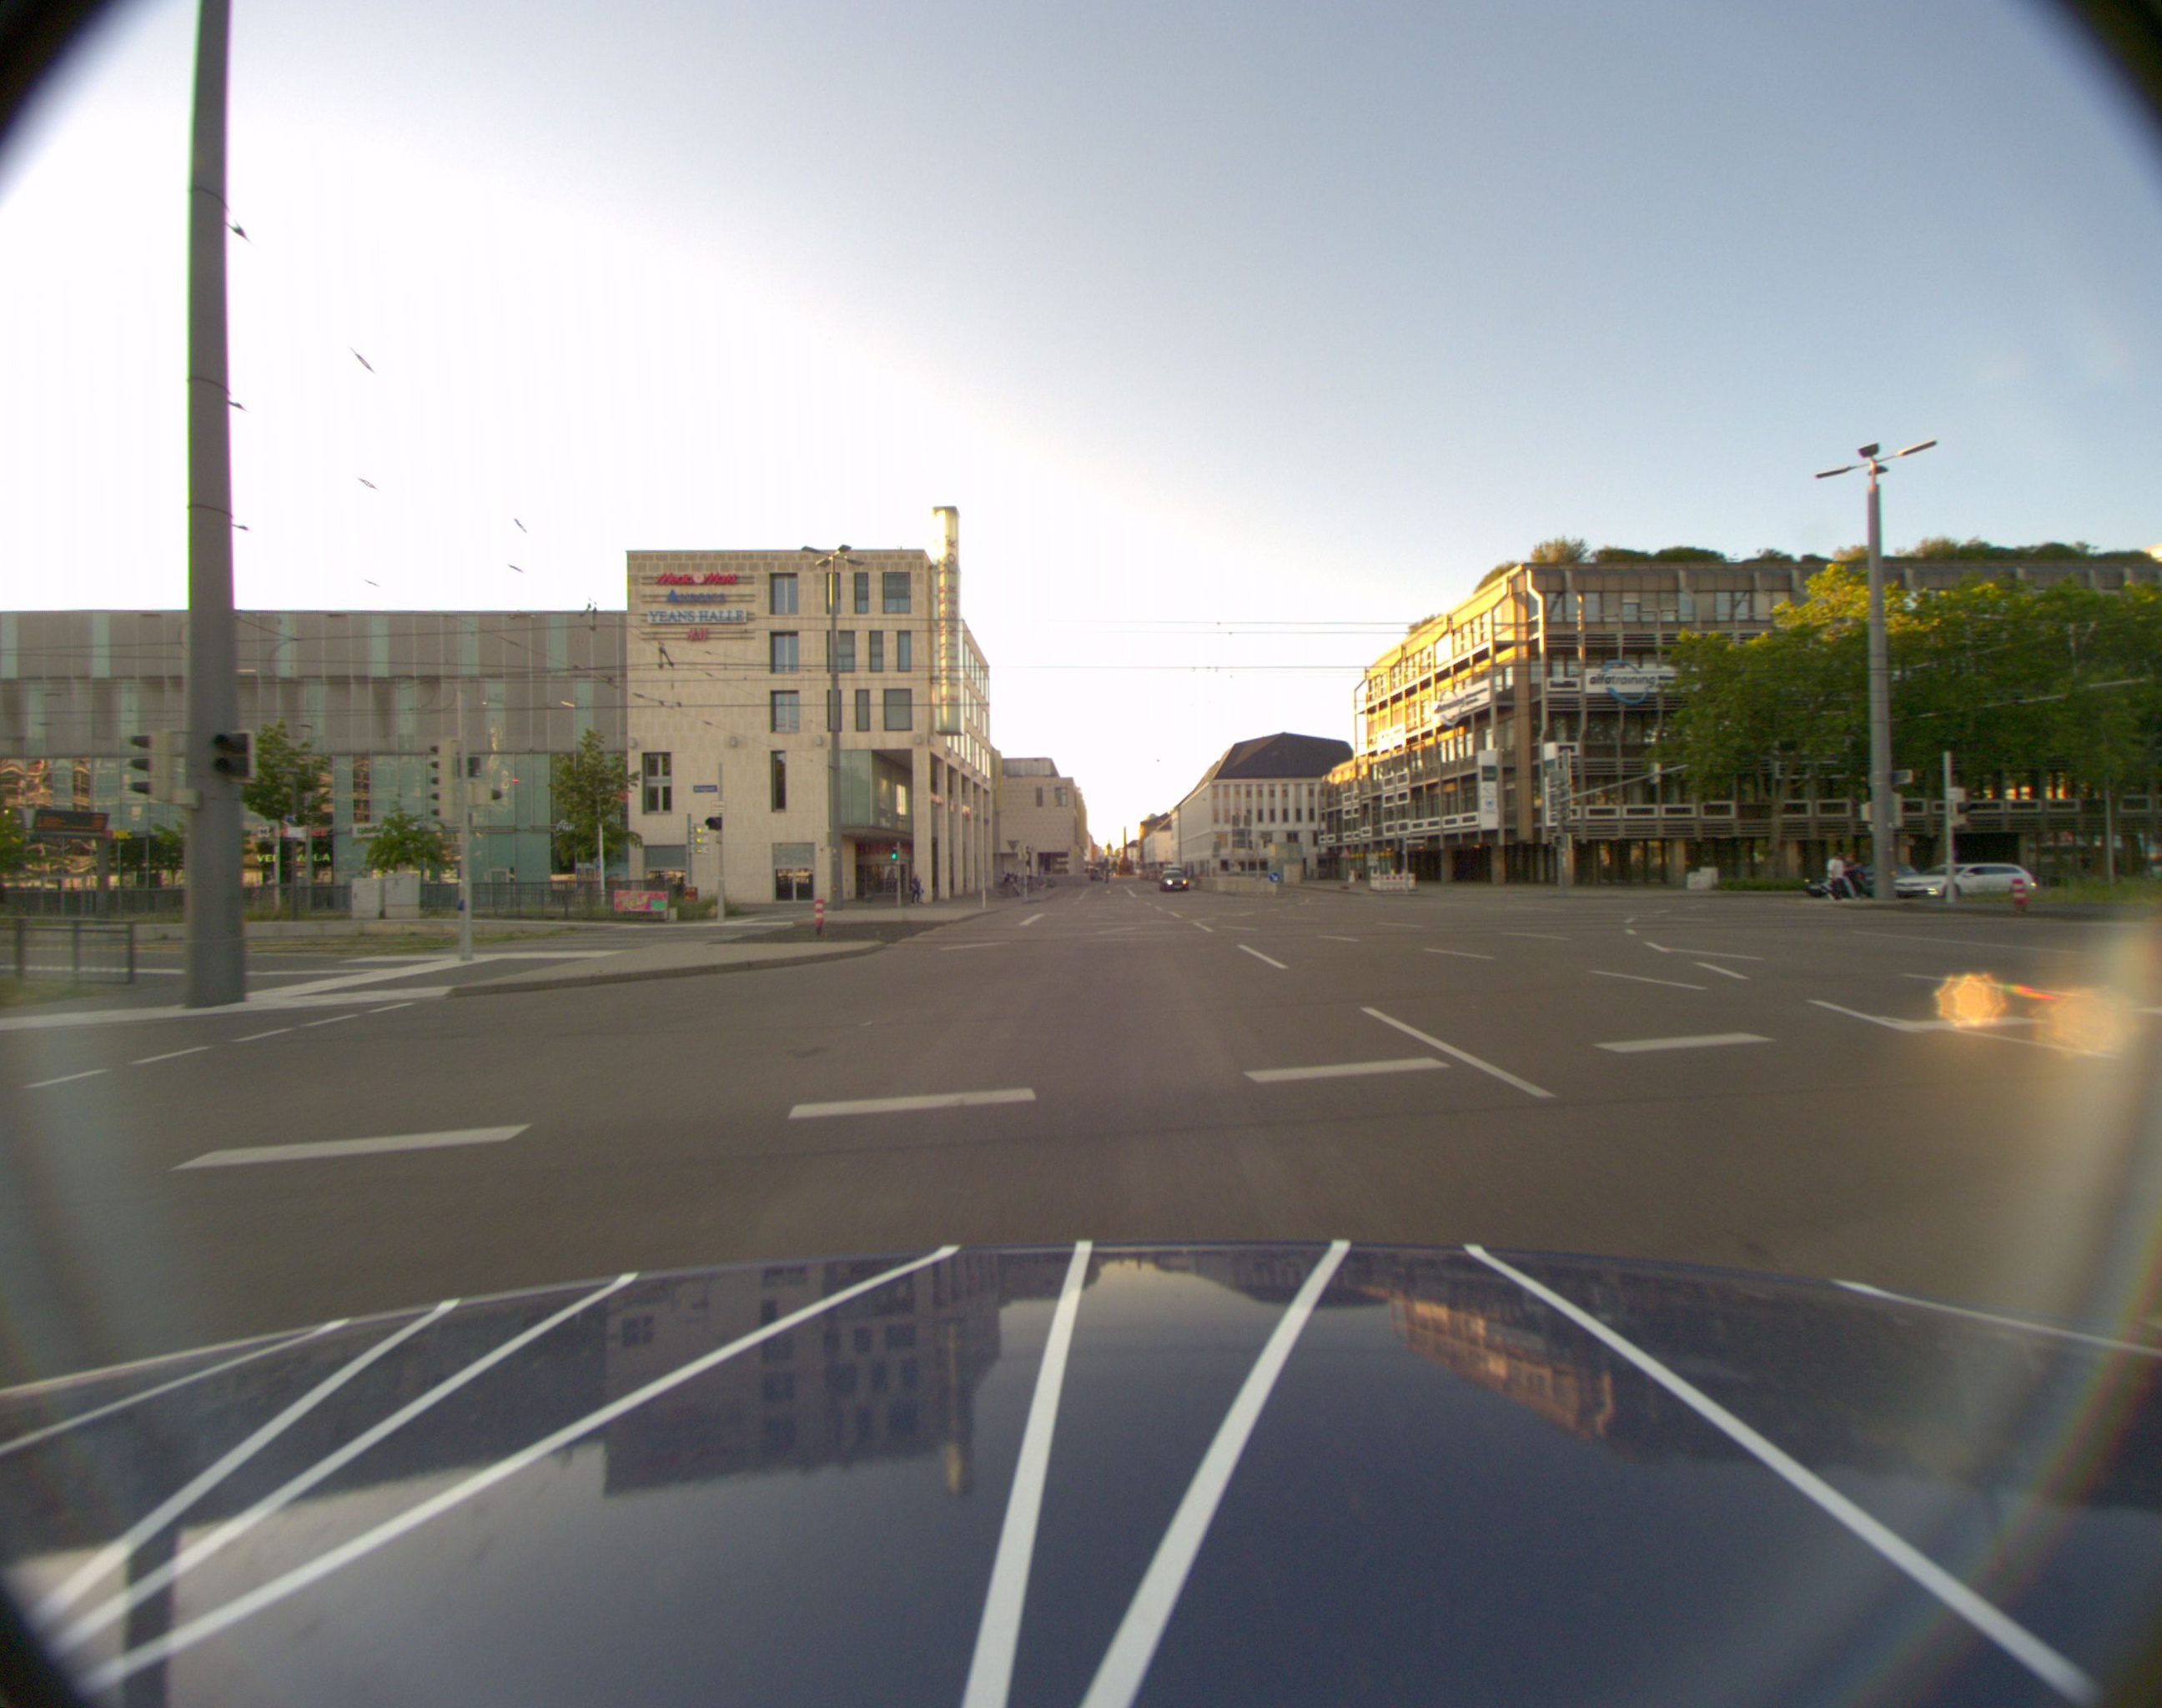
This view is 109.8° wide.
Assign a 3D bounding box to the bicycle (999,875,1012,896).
[{"bbox_3d":[-5.125,2.123,51.938,0.618,1.316,2.509,-1,0,0],"label":"bicycle"}]

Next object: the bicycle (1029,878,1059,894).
[{"bbox_3d":[-3.101,2.684,63.849,2.507,1.316,0.619,-1,0,1],"label":"bicycle"}]

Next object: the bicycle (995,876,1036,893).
[{"bbox_3d":[-4.671,2.164,54.106,2.804,1.209,0.765,-1,0,11],"label":"bicycle"}]

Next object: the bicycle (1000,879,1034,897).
[{"bbox_3d":[-4.767,2.528,56.741,2.507,1.316,0.619,-1,0,1],"label":"bicycle"}]

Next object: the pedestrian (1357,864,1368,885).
[{"bbox_3d":[24.069,1.746,64.956,0.651,1.702,0.650,-1,-1,4],"label":"pedestrian"}]

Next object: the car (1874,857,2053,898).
[{"bbox_3d":[37.206,0.974,32.144,5.159,1.575,2.000,-1,-1,1],"label":"car"}]

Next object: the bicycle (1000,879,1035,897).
[{"bbox_3d":[-4.783,2.542,57.435,2.507,1.316,0.619,-1,0,1],"label":"bicycle"}]

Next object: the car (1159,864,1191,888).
[{"bbox_3d":[6.816,1.590,55.471,2.071,1.641,4.001,-1,-1,3],"label":"car"}]

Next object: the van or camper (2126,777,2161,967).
[{"bbox_3d":[16.267,0.168,7.884,2.232,2.650,6.163,-1,-1,-1],"label":"van or camper"}]

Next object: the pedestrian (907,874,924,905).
[{"bbox_3d":[-9.334,2.009,42.942,0.764,1.696,0.834,-1,-1,0],"label":"pedestrian"}]

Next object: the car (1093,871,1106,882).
[{"bbox_3d":[2.995,3.636,122.977,2.071,1.641,4.001,-1,-1,3],"label":"car"}]

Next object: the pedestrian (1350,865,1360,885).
[{"bbox_3d":[23.396,1.757,64.887,0.645,1.702,0.682,-1,-1,4],"label":"pedestrian"}]

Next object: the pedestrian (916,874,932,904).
[{"bbox_3d":[-9.128,2.029,44.129,0.764,1.696,0.834,-1,-1,-3],"label":"pedestrian"}]

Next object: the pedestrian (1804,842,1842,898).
[{"bbox_3d":[26.026,0.571,26.665,0.644,1.920,0.681,-1,0,-1],"label":"pedestrian"}]

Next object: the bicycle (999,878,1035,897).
[{"bbox_3d":[-4.700,2.444,55.744,2.507,1.316,0.619,-1,0,1],"label":"bicycle"}]

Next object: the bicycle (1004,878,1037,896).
[{"bbox_3d":[-4.712,2.569,59.185,2.507,1.316,0.619,-1,0,1],"label":"bicycle"}]

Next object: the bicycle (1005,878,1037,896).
[{"bbox_3d":[-4.731,2.585,59.993,2.507,1.316,0.619,-1,0,1],"label":"bicycle"}]

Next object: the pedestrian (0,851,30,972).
[{"bbox_3d":[-17.162,0.887,11.622,0.892,1.843,1.007,2,1,14],"label":"pedestrian"}]

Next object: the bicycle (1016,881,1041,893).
[{"bbox_3d":[-4.797,2.960,68.968,2.211,1.034,0.509,-1,-1,-1],"label":"bicycle"}]

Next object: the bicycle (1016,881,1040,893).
[{"bbox_3d":[-4.743,2.950,68.434,2.117,1.034,0.509,-1,-1,-1],"label":"bicycle"}]

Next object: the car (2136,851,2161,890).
[{"bbox_3d":[48.047,0.667,32.120,3.997,1.641,2.073,-1,-1,0],"label":"car"}]

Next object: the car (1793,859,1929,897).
[{"bbox_3d":[36.169,1.127,35.303,4.398,1.641,1.859,-1,-1,0],"label":"car"}]

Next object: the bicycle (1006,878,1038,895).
[{"bbox_3d":[-4.704,2.599,60.906,2.507,1.316,0.619,-1,0,1],"label":"bicycle"}]
